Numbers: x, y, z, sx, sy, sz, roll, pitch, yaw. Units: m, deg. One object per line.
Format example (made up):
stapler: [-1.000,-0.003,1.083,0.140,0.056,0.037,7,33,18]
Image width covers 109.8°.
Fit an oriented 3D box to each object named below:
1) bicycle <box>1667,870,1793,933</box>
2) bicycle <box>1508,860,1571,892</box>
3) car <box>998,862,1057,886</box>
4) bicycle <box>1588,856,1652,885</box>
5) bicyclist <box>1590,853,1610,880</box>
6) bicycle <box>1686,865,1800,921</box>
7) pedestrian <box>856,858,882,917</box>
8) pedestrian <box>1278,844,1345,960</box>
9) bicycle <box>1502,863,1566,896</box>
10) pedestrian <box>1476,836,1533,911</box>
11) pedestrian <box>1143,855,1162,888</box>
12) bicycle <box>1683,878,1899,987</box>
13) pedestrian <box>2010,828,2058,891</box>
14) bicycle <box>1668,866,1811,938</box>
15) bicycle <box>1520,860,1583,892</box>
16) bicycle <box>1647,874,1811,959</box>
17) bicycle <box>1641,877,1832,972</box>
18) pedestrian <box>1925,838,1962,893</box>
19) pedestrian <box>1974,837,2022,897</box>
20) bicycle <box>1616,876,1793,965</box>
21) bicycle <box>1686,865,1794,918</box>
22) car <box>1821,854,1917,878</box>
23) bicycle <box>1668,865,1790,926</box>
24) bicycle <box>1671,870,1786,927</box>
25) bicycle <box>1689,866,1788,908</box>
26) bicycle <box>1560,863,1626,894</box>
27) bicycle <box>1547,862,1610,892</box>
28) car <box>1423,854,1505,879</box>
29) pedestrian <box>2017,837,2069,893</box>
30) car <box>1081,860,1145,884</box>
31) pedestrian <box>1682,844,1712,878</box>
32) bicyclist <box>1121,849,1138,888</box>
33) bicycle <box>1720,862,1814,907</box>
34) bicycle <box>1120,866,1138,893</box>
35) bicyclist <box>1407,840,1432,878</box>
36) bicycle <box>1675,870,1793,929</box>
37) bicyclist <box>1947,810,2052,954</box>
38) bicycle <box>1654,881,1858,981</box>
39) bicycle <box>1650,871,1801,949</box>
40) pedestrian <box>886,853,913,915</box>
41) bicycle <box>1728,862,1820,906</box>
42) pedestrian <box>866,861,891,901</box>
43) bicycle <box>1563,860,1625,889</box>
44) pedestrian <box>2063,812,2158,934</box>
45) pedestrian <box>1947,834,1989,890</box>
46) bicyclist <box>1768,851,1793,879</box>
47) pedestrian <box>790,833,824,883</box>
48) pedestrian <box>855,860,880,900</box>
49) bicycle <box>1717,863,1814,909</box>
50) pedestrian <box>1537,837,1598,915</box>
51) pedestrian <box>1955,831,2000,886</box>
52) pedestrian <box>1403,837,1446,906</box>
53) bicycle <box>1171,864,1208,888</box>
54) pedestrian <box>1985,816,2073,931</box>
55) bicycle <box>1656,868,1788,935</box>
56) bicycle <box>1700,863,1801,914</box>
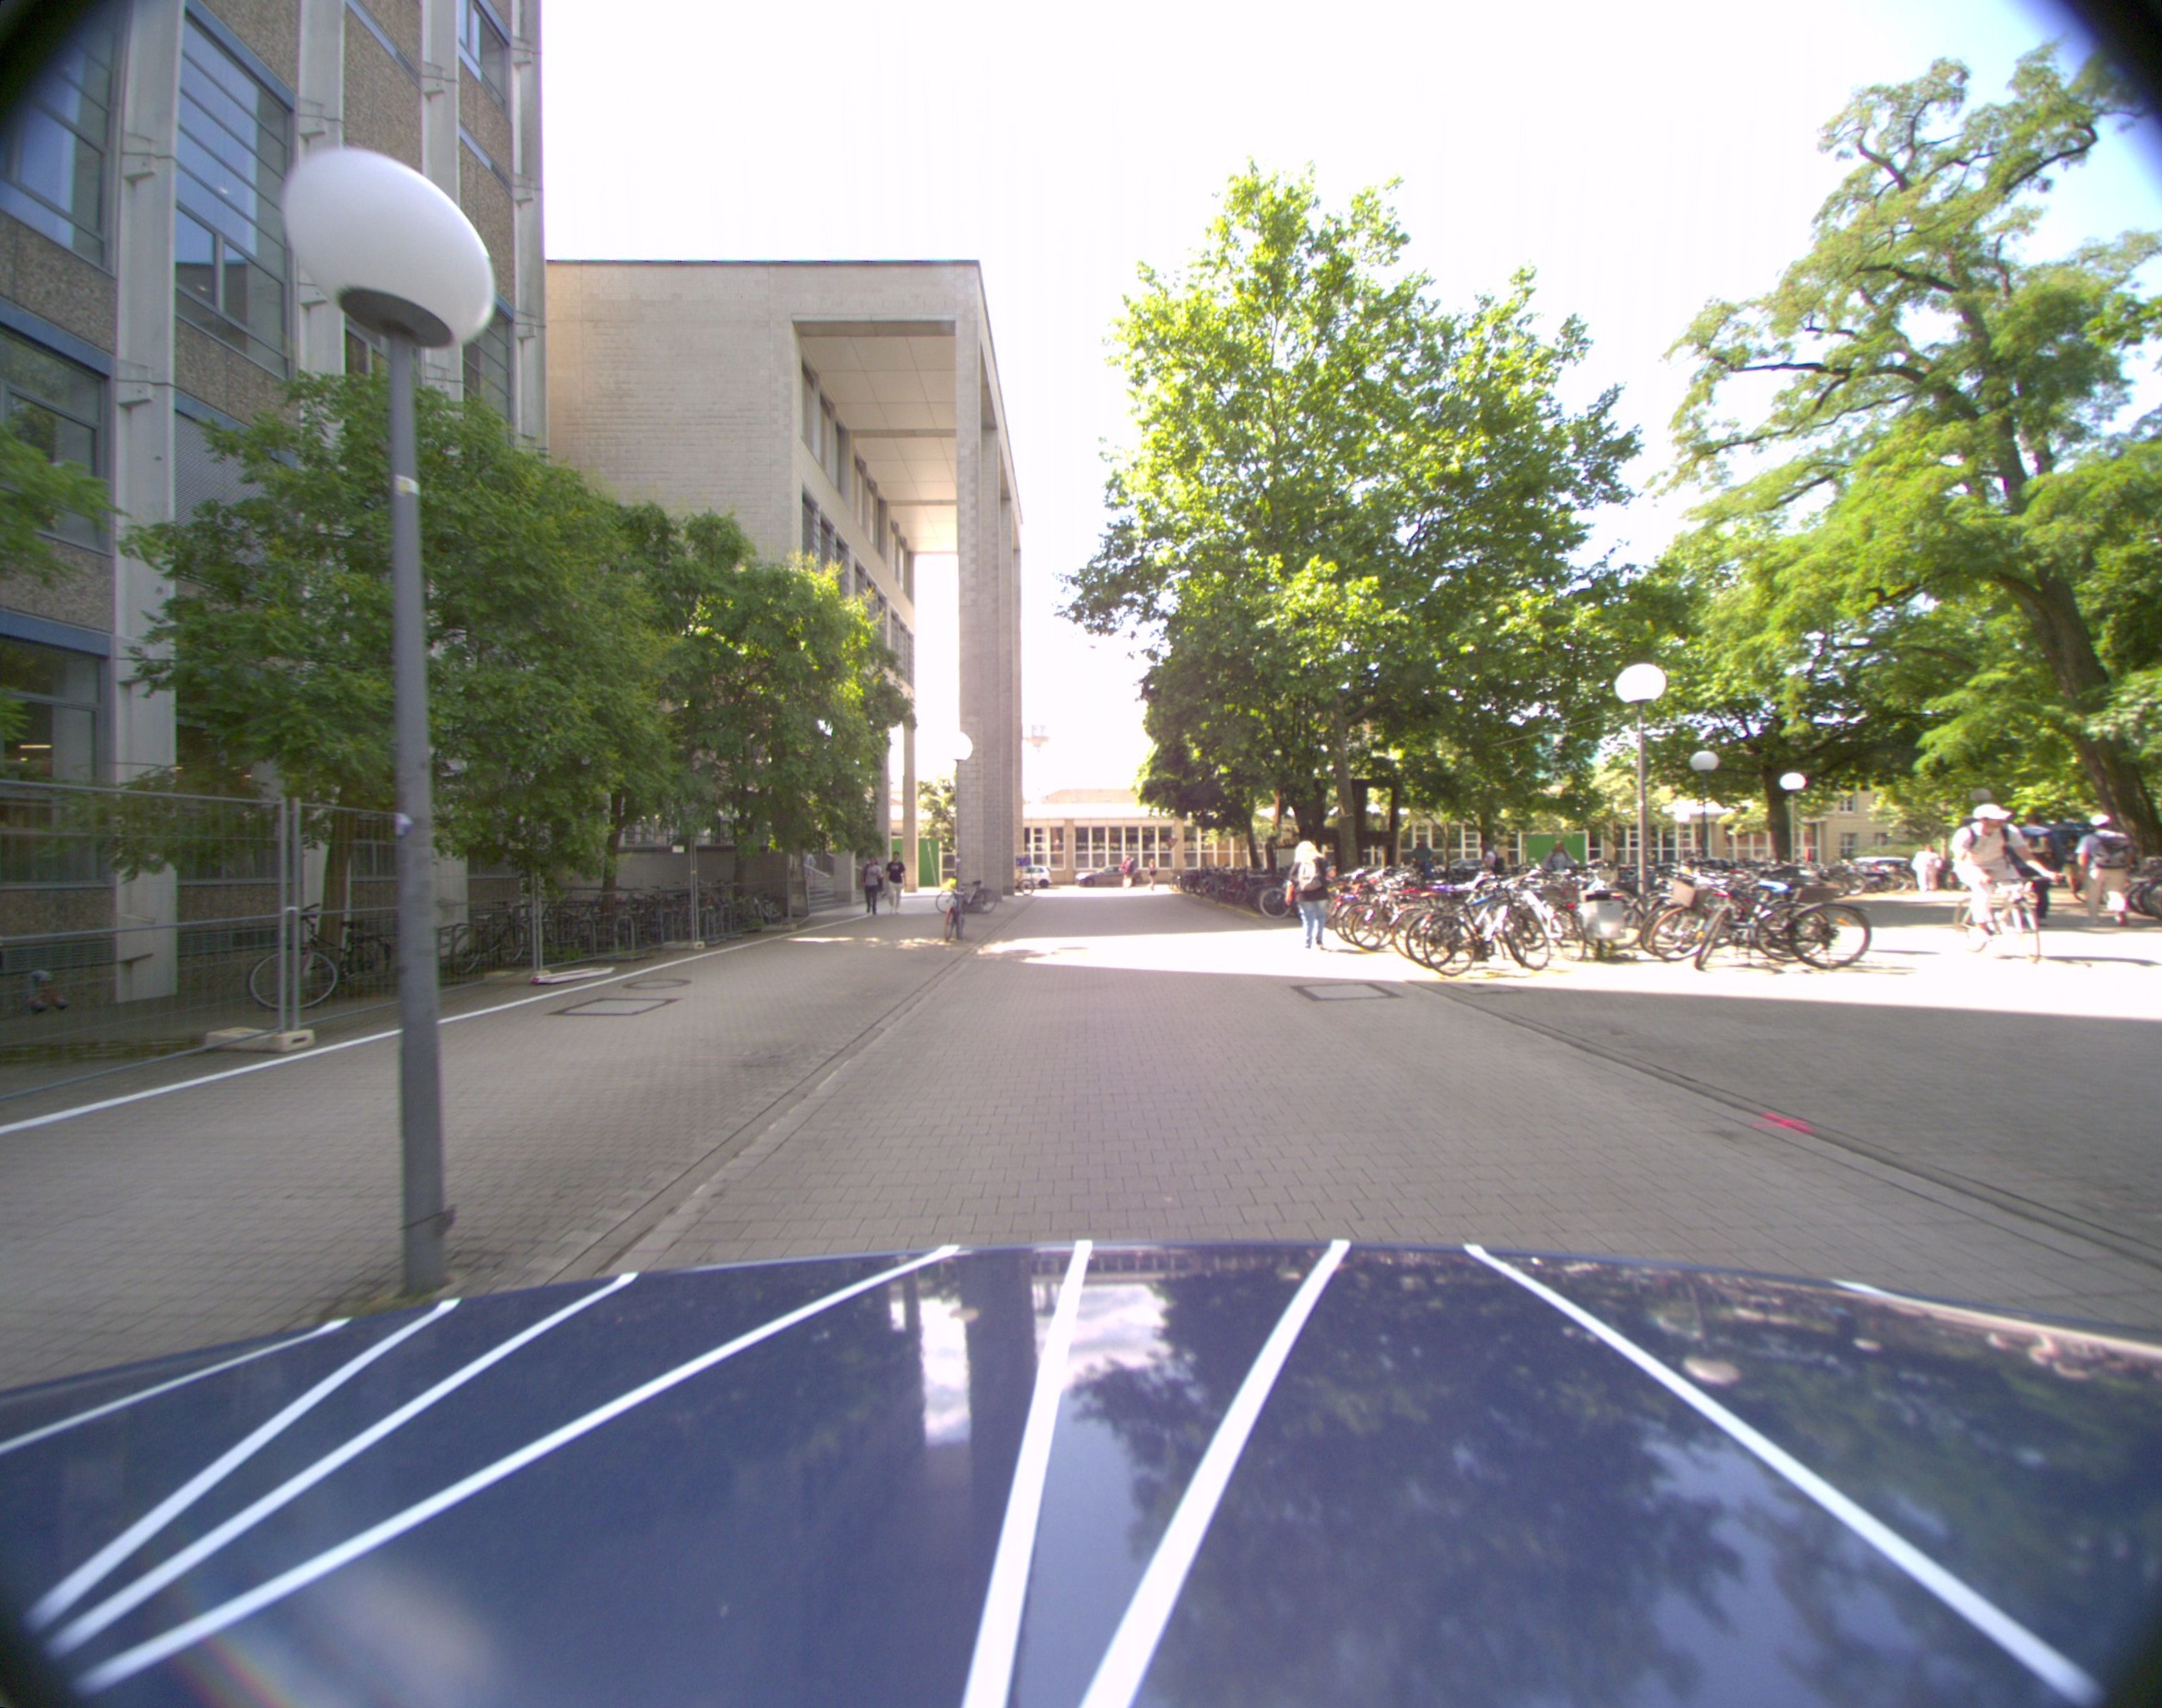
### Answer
bicycle: [11.777,0.835,13.850,1.695,1.077,0.475,-1,1,35]
bicycle: [16.378,0.775,27.192,0.503,1.101,1.902,-2,0,-33]
car: [-3.540,1.327,50.445,3.776,1.468,1.653,0,2,0]
bicycle: [21.507,0.659,30.361,0.503,1.101,2.025,-2,0,-32]
bicyclist: [30.192,0.739,44.185,0.727,1.526,0.605,0,2,2]
bicycle: [13.393,0.784,15.436,1.695,1.077,0.475,-1,1,35]
pedestrian: [-6.154,0.958,22.028,0.703,1.645,0.881,0,0,-18]
pedestrian: [3.474,0.702,11.533,0.769,1.670,0.907,-2,1,6]
bicycle: [15.966,0.873,26.834,0.503,1.101,1.902,-2,0,-33]
pedestrian: [9.830,0.448,17.653,0.906,1.693,0.770,-1,0,5]
pedestrian: [3.568,0.877,37.896,0.881,1.645,0.703,0,0,12]
bicycle: [7.648,0.839,8.243,1.696,1.104,0.474,-1,1,13]
pedestrian: [27.657,0.153,22.048,0.908,1.764,0.768,-1,0,-33]
bicycle: [10.507,0.742,12.196,1.695,1.077,0.475,-1,1,38]
bicycle: [16.996,0.771,27.489,0.503,1.101,1.902,-2,0,-30]
bicycle: [8.920,0.823,10.520,1.695,1.077,0.475,-1,1,42]
bicycle: [7.926,0.835,9.265,1.696,1.077,0.475,-1,1,20]
pedestrian: [28.364,0.369,24.987,0.671,1.761,0.502,-1,0,-9]
pedestrian: [26.254,0.362,21.749,0.908,1.670,0.768,-1,0,-33]
bicycle: [7.983,0.839,9.802,1.696,1.077,0.475,-1,1,20]
bicycle: [14.043,0.784,16.245,1.695,1.077,0.475,-1,1,35]
car: [52.300,0.771,50.478,4.536,1.532,1.838,0,-1,-2]
bicycle: [12.083,0.766,14.233,1.695,1.077,0.475,-1,1,35]
bicycle: [12.866,0.863,15.154,1.695,1.077,0.475,-1,1,35]
bicycle: [15.733,0.769,18.219,0.453,0.956,1.735,-2,1,-39]
bicycle: [18.760,0.886,27.893,0.503,1.101,2.001,-2,0,-30]
bicycle: [19.180,0.867,29.351,0.503,1.101,2.001,-2,0,-30]
car: [25.398,0.812,50.457,4.536,1.608,1.838,-1,1,-2]
pedestrian: [31.040,0.356,24.517,0.908,1.764,0.769,-1,0,-18]
car: [2.098,1.194,50.593,4.208,1.467,1.653,-1,1,0]
pedestrian: [31.044,0.362,38.300,0.874,1.674,0.728,0,0,-3]
bicyclist: [2.186,0.652,34.251,0.773,1.706,0.911,0,1,4]
bicycle: [17.308,0.752,19.205,0.475,1.077,1.695,-2,1,-39]
bicycle: [2.181,1.125,34.261,0.773,1.144,2.108,0,1,4]
bicyclist: [17.128,0.252,38.403,0.803,1.880,0.869,-4,-1,44]
bicycle: [12.599,0.854,14.724,1.695,1.077,0.475,-1,1,35]
bicyclist: [10.445,0.301,8.665,0.594,1.559,0.723,-1,1,36]
bicycle: [7.729,0.867,8.763,1.721,1.077,0.474,-1,1,15]
bicycle: [9.641,0.807,11.418,1.695,1.077,0.475,-1,1,42]
pedestrian: [-5.328,0.868,22.266,0.703,1.792,0.881,0,0,-18]
bicycle: [17.800,0.743,19.544,0.475,1.077,1.695,-2,1,-39]
pedestrian: [-8.172,1.082,30.704,0.809,1.608,0.739,0,0,-31]
bicycle: [20.304,0.811,30.113,0.503,1.101,2.001,-2,0,-30]
pedestrian: [15.976,0.282,11.815,0.986,1.793,0.768,-1,0,-42]
pedestrian: [28.475,0.252,24.393,0.659,1.764,0.609,-1,0,-8]
bicyclist: [40.345,0.634,43.832,0.874,1.564,0.640,0,2,-4]
pedestrian: [-10.251,0.156,28.464,0.960,1.803,0.770,-2,1,-3]
pedestrian: [-8.936,1.075,31.883,0.899,1.660,0.675,0,0,-5]
bicycle: [16.737,0.768,18.614,0.475,1.077,1.695,-2,1,-39]
pedestrian: [10.924,0.479,17.072,0.771,1.693,0.905,-1,0,-35]
pedestrian: [27.568,0.130,23.373,0.908,1.670,0.768,-1,0,-33]
pedestrian: [9.174,0.453,20.271,0.771,1.796,0.708,-1,0,-33]
bicycle: [5.025,1.026,35.248,1.628,1.101,0.497,-1,-2,0]
pedestrian: [15.463,0.305,12.426,0.884,1.804,0.832,-1,0,-42]
bicycle: [10.996,0.801,13.096,1.695,1.077,0.475,-1,1,35]
bicycle: [15.090,0.762,17.162,1.695,1.077,0.475,-1,1,43]
